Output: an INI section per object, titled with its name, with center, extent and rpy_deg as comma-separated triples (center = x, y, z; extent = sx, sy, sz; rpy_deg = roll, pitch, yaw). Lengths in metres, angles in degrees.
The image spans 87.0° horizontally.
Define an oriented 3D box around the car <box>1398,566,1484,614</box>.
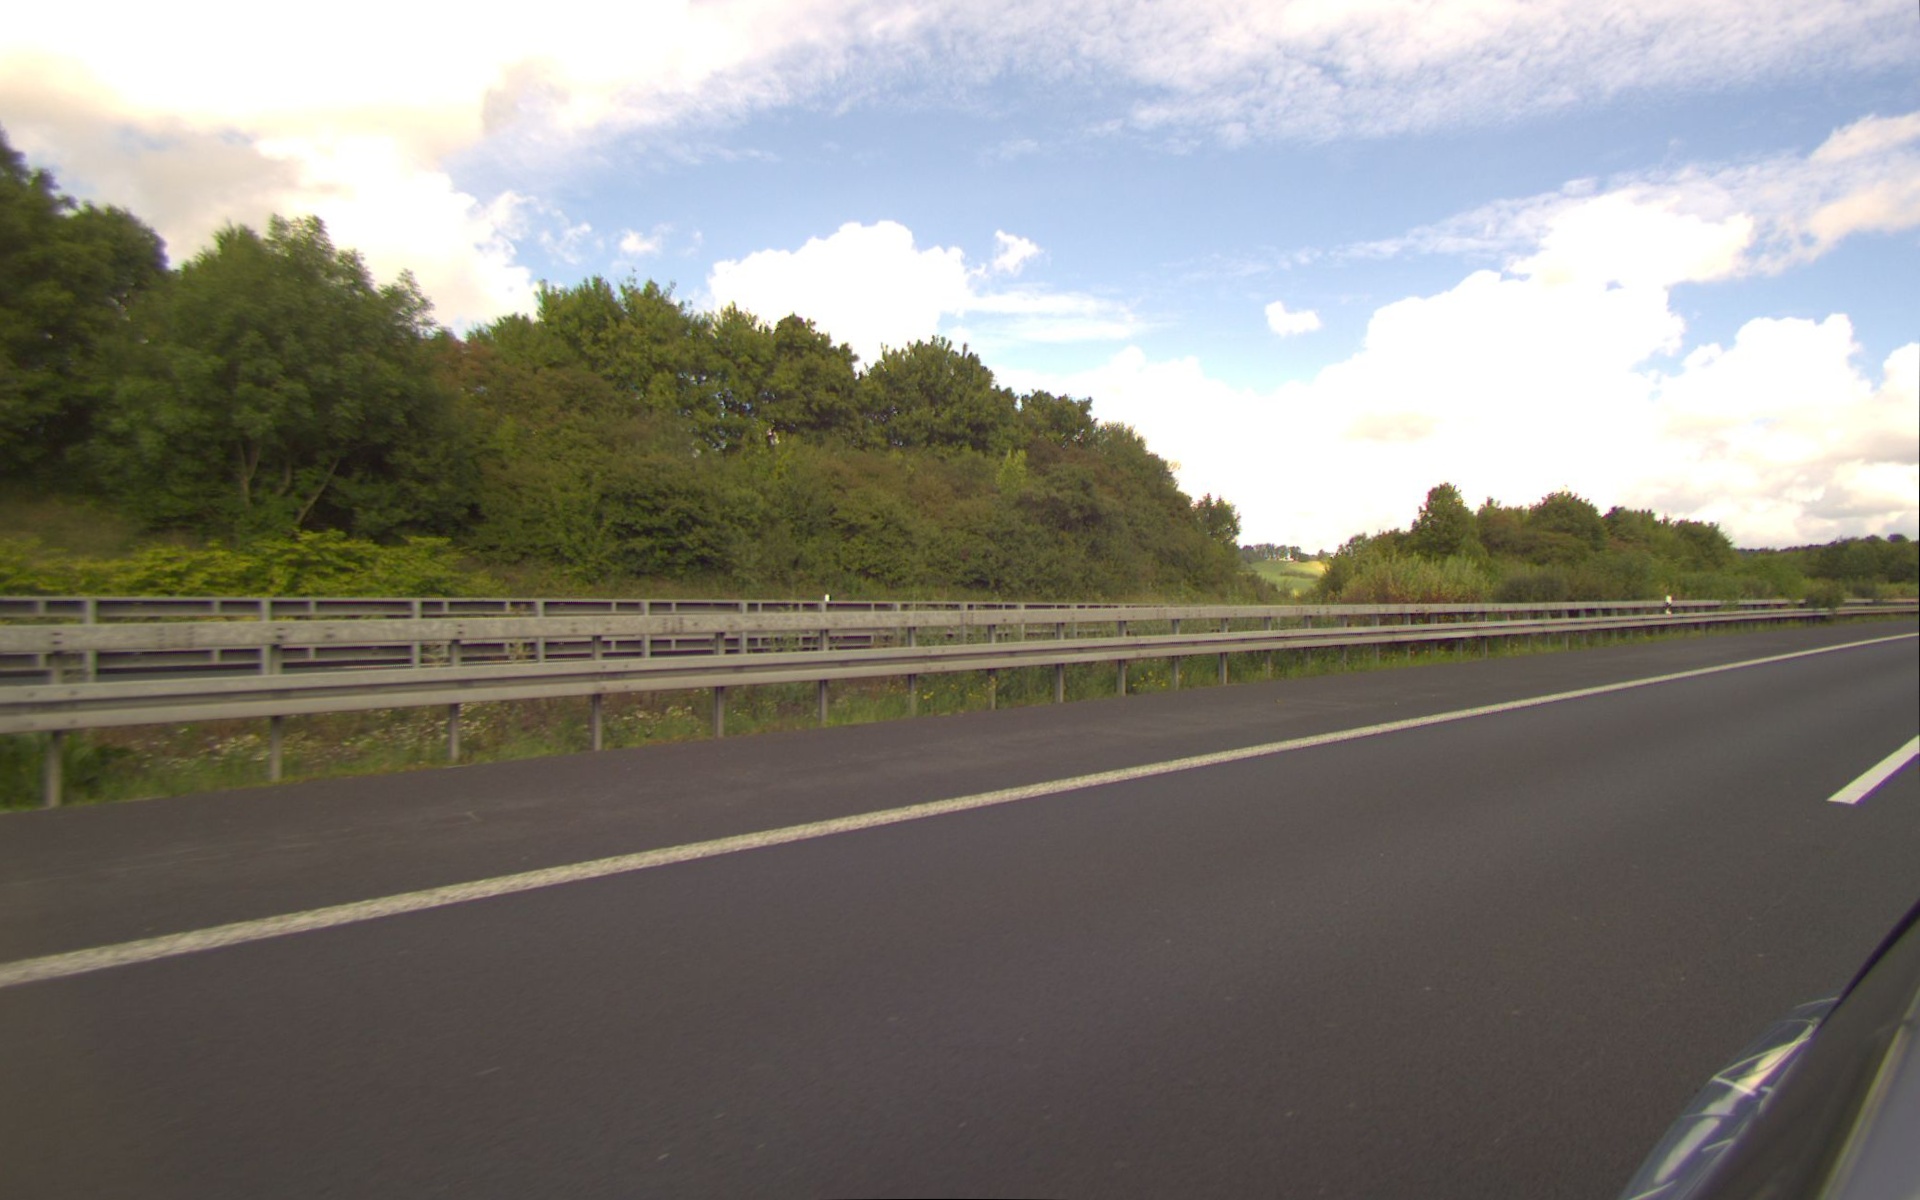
[car]
center = 23.206, -0.470, 48.744
extent = 5.040, 2.213, 1.996
rpy_deg = -1, 0, -42
